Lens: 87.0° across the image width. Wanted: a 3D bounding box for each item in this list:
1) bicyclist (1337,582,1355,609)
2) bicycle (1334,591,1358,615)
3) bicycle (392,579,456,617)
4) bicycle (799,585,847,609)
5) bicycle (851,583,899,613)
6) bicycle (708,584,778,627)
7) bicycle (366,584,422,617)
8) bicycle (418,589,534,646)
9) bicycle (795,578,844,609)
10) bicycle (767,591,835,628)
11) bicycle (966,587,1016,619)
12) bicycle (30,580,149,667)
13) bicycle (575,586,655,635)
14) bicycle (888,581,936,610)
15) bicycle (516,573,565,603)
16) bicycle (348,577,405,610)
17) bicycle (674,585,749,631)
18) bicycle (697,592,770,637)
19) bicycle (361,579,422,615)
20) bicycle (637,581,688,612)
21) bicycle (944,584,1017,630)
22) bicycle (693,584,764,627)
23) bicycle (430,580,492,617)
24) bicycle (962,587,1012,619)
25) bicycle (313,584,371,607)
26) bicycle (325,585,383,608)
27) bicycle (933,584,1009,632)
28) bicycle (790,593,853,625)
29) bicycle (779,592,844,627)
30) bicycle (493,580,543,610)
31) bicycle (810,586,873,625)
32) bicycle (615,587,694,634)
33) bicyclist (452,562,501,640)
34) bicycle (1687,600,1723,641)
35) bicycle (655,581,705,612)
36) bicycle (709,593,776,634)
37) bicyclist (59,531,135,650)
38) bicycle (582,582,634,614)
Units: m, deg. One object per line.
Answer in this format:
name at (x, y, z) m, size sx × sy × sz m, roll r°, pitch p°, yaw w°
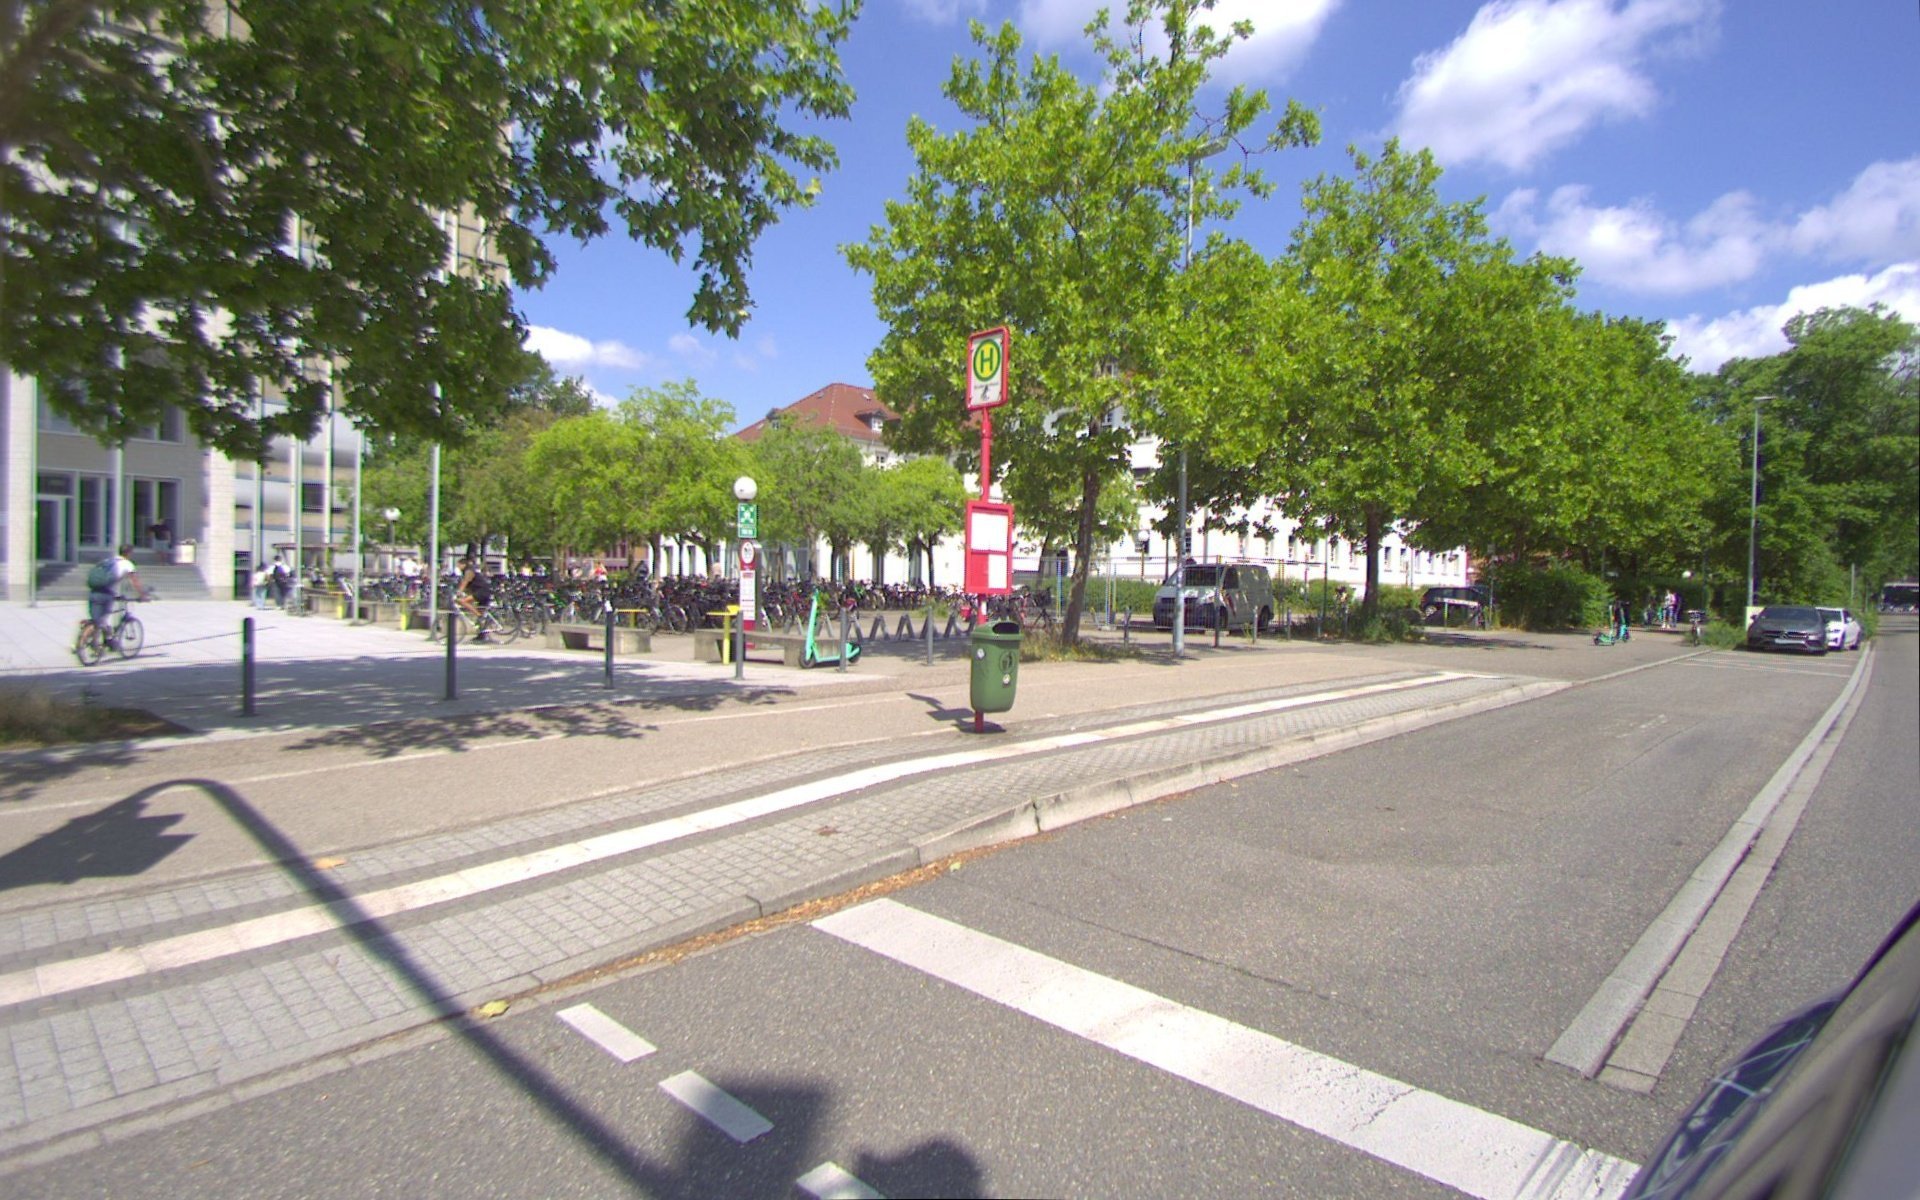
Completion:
bicyclist at (19.309, -0.226, 50.573) m, size 0.605 × 1.337 × 0.732 m, roll 3°, pitch 2°, yaw 39°
bicycle at (19.300, 0.153, 50.589) m, size 0.605 × 1.152 × 1.565 m, roll 3°, pitch 2°, yaw 39°
bicycle at (-16.218, -0.051, 30.620) m, size 1.740 × 1.113 × 0.601 m, roll -1°, pitch -1°, yaw 13°
bicycle at (-5.256, -0.119, 38.883) m, size 1.740 × 0.880 × 0.601 m, roll -1°, pitch -1°, yaw 13°
bicycle at (-3.218, -0.084, 38.372) m, size 1.740 × 1.113 × 0.601 m, roll -1°, pitch -1°, yaw 13°
bicycle at (-5.901, 0.153, 27.551) m, size 1.741 × 1.113 × 0.601 m, roll 1°, pitch 0°, yaw 13°
bicycle at (-19.852, 0.020, 35.499) m, size 1.740 × 1.113 × 0.601 m, roll -1°, pitch -1°, yaw 13°
bicycle at (-10.007, 0.341, 21.012) m, size 2.109 × 1.092 × 0.905 m, roll -2°, pitch 1°, yaw -23°
bicycle at (-5.257, -0.249, 37.916) m, size 1.740 × 1.113 × 0.601 m, roll -1°, pitch -1°, yaw 13°
bicycle at (-4.379, 0.259, 27.905) m, size 1.741 × 0.966 × 0.601 m, roll 1°, pitch 0°, yaw 13°
bicycle at (1.134, 0.115, 36.813) m, size 1.740 × 1.113 × 0.590 m, roll -1°, pitch -1°, yaw 13°
bicycle at (-13.880, 0.358, 16.202) m, size 0.649 × 1.313 × 1.878 m, roll -1°, pitch 0°, yaw -13°
bicycle at (-8.159, 0.250, 23.933) m, size 1.741 × 1.113 × 0.601 m, roll -1°, pitch -1°, yaw 13°
bicycle at (-1.865, -0.170, 39.229) m, size 1.740 × 1.113 × 0.601 m, roll -1°, pitch -1°, yaw 13°
bicycle at (-16.349, -0.461, 39.479) m, size 1.740 × 1.113 × 0.601 m, roll -1°, pitch -1°, yaw 13°
bicycle at (-20.063, -0.216, 34.813) m, size 1.740 × 1.113 × 0.601 m, roll -1°, pitch -1°, yaw 13°
bicycle at (-6.223, 0.210, 25.358) m, size 1.741 × 1.113 × 0.601 m, roll -1°, pitch -1°, yaw 13°
bicycle at (-5.848, 0.363, 26.112) m, size 1.741 × 1.113 × 0.601 m, roll 1°, pitch 0°, yaw 13°
bicycle at (-18.127, -0.086, 32.270) m, size 1.740 × 1.113 × 0.601 m, roll -1°, pitch -1°, yaw 13°
bicycle at (-10.879, -0.126, 37.022) m, size 1.740 × 1.113 × 0.601 m, roll -1°, pitch -1°, yaw 13°
bicycle at (0.511, 0.185, 25.291) m, size 1.741 × 1.113 × 0.601 m, roll -1°, pitch -1°, yaw 13°
bicycle at (-6.131, 0.136, 26.845) m, size 1.741 × 1.112 × 0.601 m, roll 1°, pitch 0°, yaw 13°
bicycle at (-15.497, -0.051, 31.418) m, size 1.740 × 1.113 × 0.601 m, roll -1°, pitch -1°, yaw 13°
bicycle at (0.964, 0.116, 36.220) m, size 1.740 × 1.113 × 0.514 m, roll -1°, pitch -1°, yaw 13°
bicycle at (-22.288, -0.163, 36.522) m, size 0.516 × 0.802 × 1.749 m, roll 1°, pitch 1°, yaw 30°
bicycle at (-21.414, -0.140, 35.809) m, size 0.516 × 0.802 × 1.749 m, roll 1°, pitch 1°, yaw 30°
bicycle at (0.269, 0.197, 24.633) m, size 1.741 × 1.113 × 0.601 m, roll -1°, pitch -1°, yaw 13°
bicycle at (-4.038, 0.263, 29.477) m, size 1.741 × 0.880 × 0.482 m, roll 1°, pitch 0°, yaw 13°
bicycle at (-4.209, 0.258, 28.690) m, size 1.741 × 0.966 × 0.601 m, roll 1°, pitch 0°, yaw 13°
bicycle at (-16.711, -0.186, 38.274) m, size 1.740 × 1.113 × 0.601 m, roll -1°, pitch -1°, yaw 13°
bicycle at (-3.512, 0.169, 30.002) m, size 1.741 × 1.113 × 0.601 m, roll -1°, pitch -1°, yaw 13°
bicycle at (-7.373, 0.254, 24.441) m, size 1.741 × 1.113 × 0.601 m, roll -1°, pitch -1°, yaw 13°
bicyclist at (-10.042, 0.014, 21.038) m, size 0.914 × 1.583 × 0.664 m, roll 0°, pitch 1°, yaw -25°
bicycle at (22.755, 0.612, 30.899) m, size 0.637 × 1.205 × 2.086 m, roll 3°, pitch 1°, yaw 42°
bicycle at (-10.466, -0.130, 37.811) m, size 1.740 × 1.113 × 0.601 m, roll -1°, pitch -1°, yaw 13°
bicycle at (-6.170, 0.372, 28.724) m, size 1.741 × 1.113 × 0.601 m, roll 1°, pitch 0°, yaw 13°
bicyclist at (-13.903, -0.153, 16.315) m, size 0.649 × 1.869 × 0.763 m, roll -1°, pitch -1°, yaw -12°
bicycle at (-12.737, -0.081, 36.653) m, size 1.740 × 1.113 × 0.601 m, roll -1°, pitch -1°, yaw 13°
